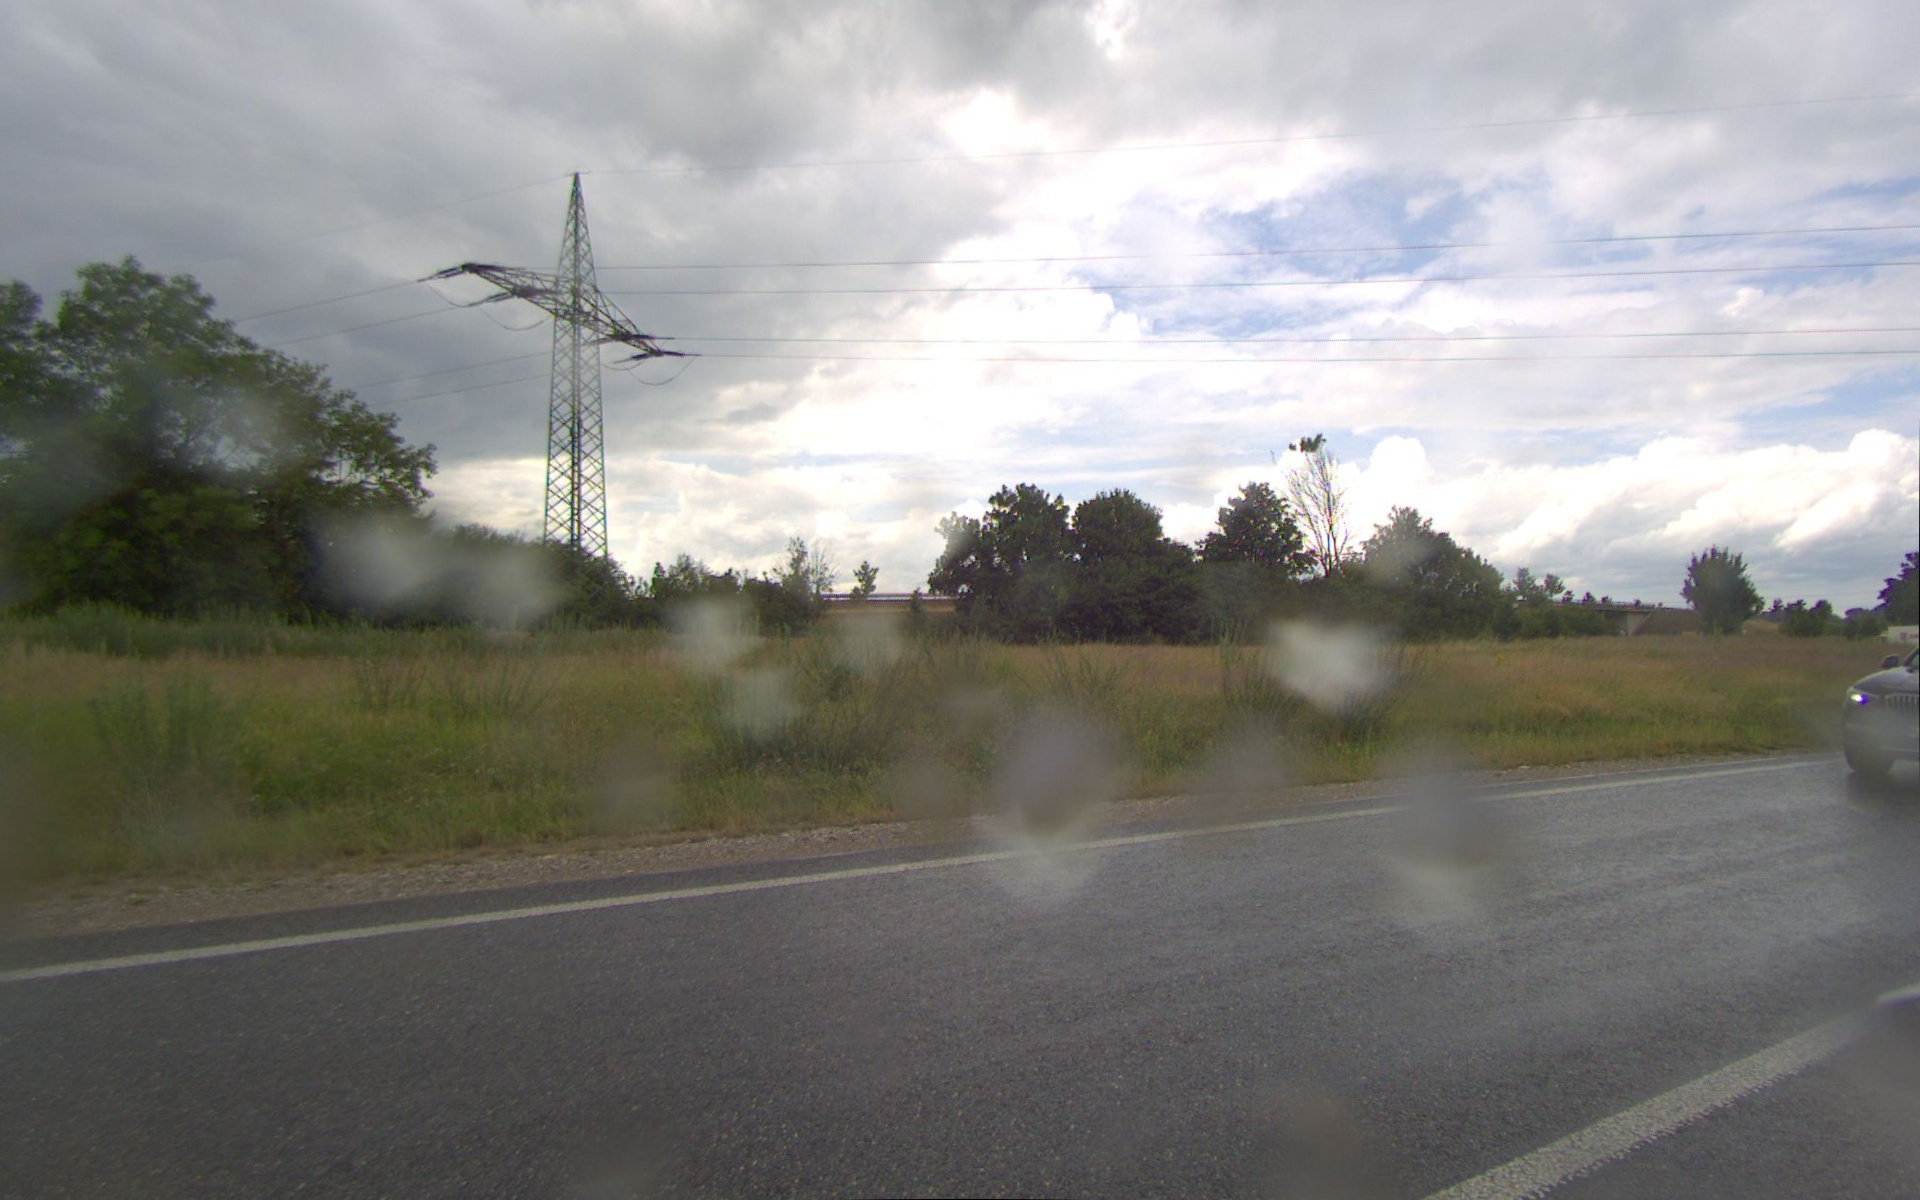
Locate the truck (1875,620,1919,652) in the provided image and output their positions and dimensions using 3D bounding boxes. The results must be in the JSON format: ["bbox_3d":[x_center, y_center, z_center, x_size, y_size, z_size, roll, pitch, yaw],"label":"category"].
[{"bbox_3d":[98.177,3.710,102.810,2.962,3.252,8.237,3,0,14],"label":"truck"}]

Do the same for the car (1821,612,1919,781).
[{"bbox_3d":[11.417,1.002,10.804,4.479,1.653,1.841,2,-1,-29],"label":"car"}]
